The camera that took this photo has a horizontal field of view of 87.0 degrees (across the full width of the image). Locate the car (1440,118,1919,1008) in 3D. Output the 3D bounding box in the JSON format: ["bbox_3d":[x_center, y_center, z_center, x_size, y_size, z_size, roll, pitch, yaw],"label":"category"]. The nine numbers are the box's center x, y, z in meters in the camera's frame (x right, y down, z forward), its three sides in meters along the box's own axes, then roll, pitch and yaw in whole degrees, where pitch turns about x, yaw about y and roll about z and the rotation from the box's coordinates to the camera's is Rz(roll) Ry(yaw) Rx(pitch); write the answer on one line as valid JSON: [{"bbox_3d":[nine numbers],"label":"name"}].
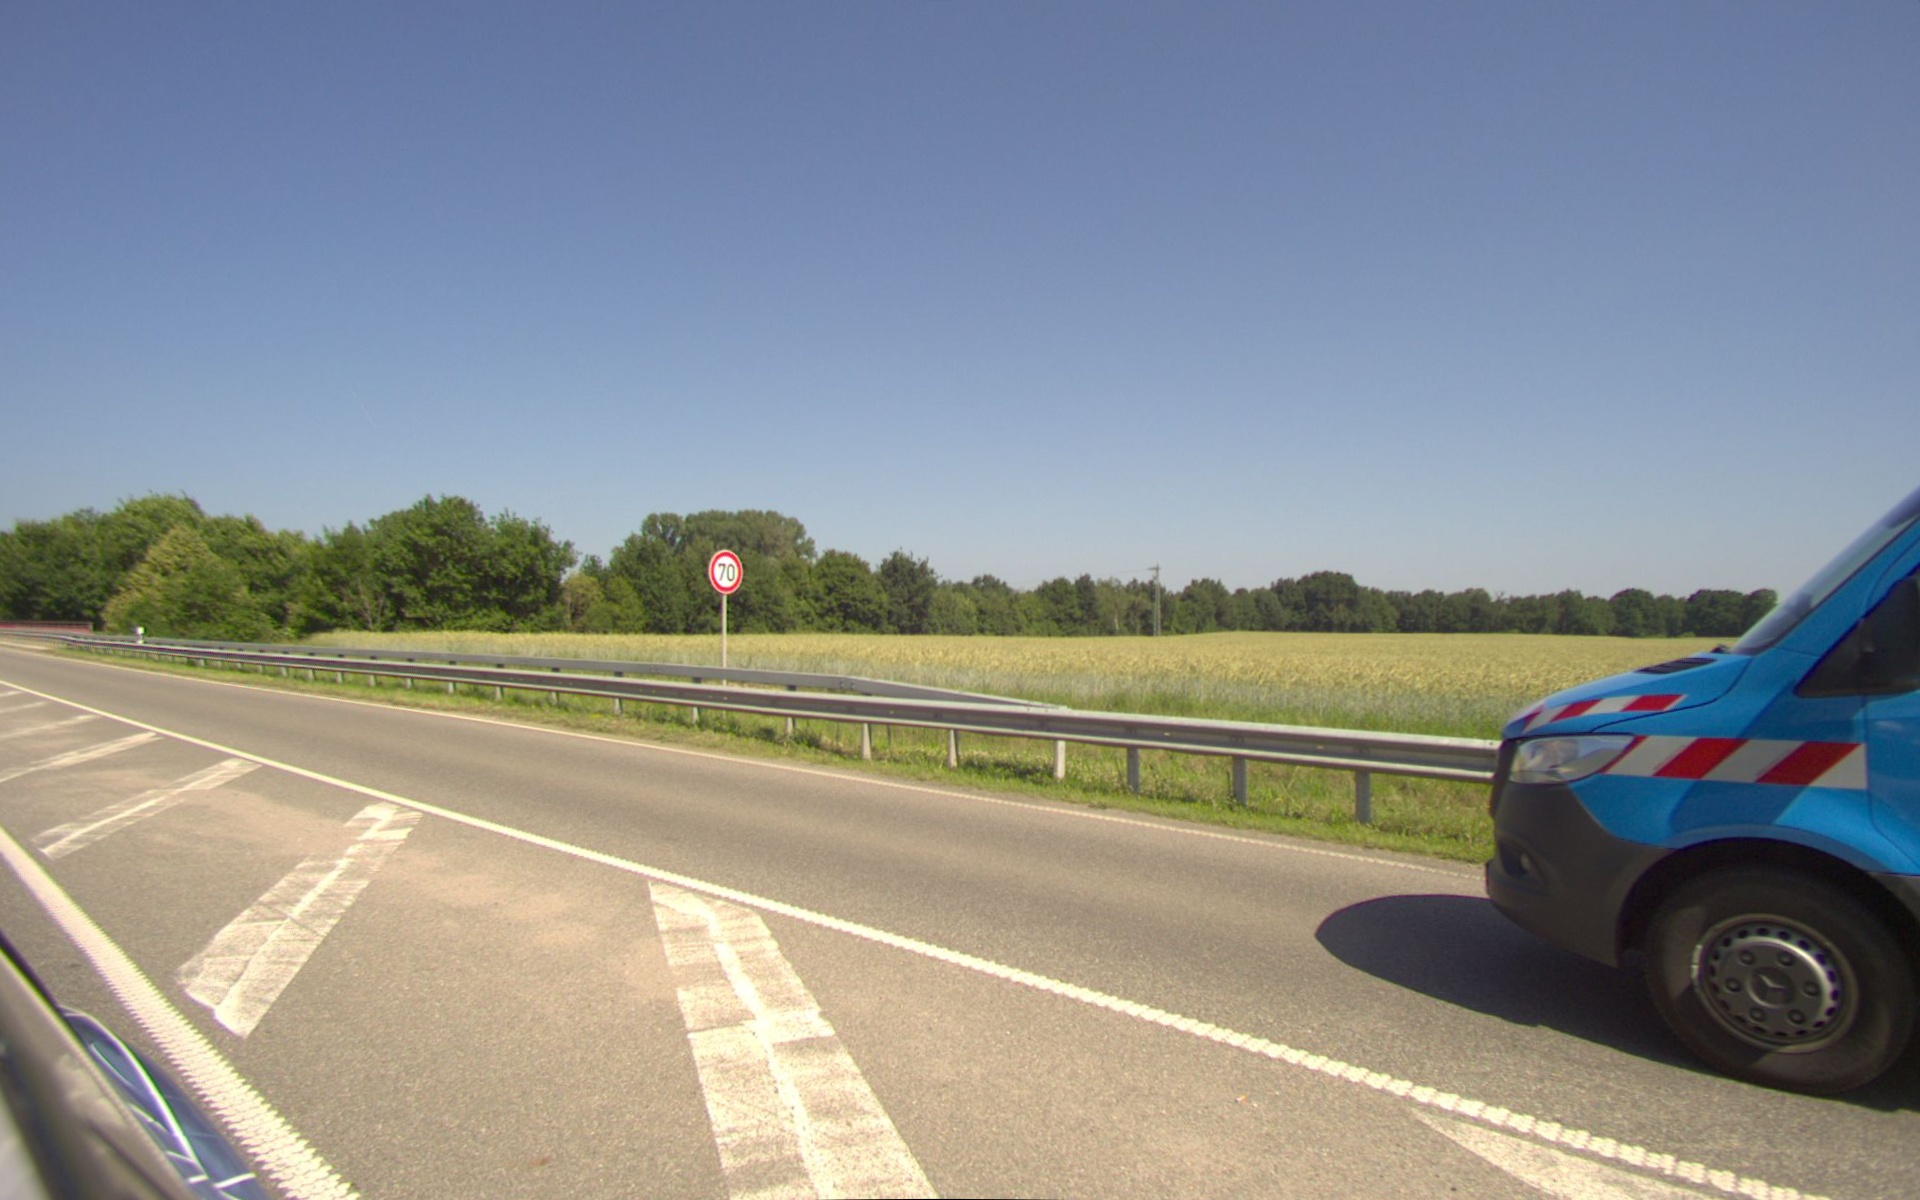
[{"bbox_3d":[5.228,-0.071,2.208,7.286,2.631,1.973,0,-3,41],"label":"car"}]
